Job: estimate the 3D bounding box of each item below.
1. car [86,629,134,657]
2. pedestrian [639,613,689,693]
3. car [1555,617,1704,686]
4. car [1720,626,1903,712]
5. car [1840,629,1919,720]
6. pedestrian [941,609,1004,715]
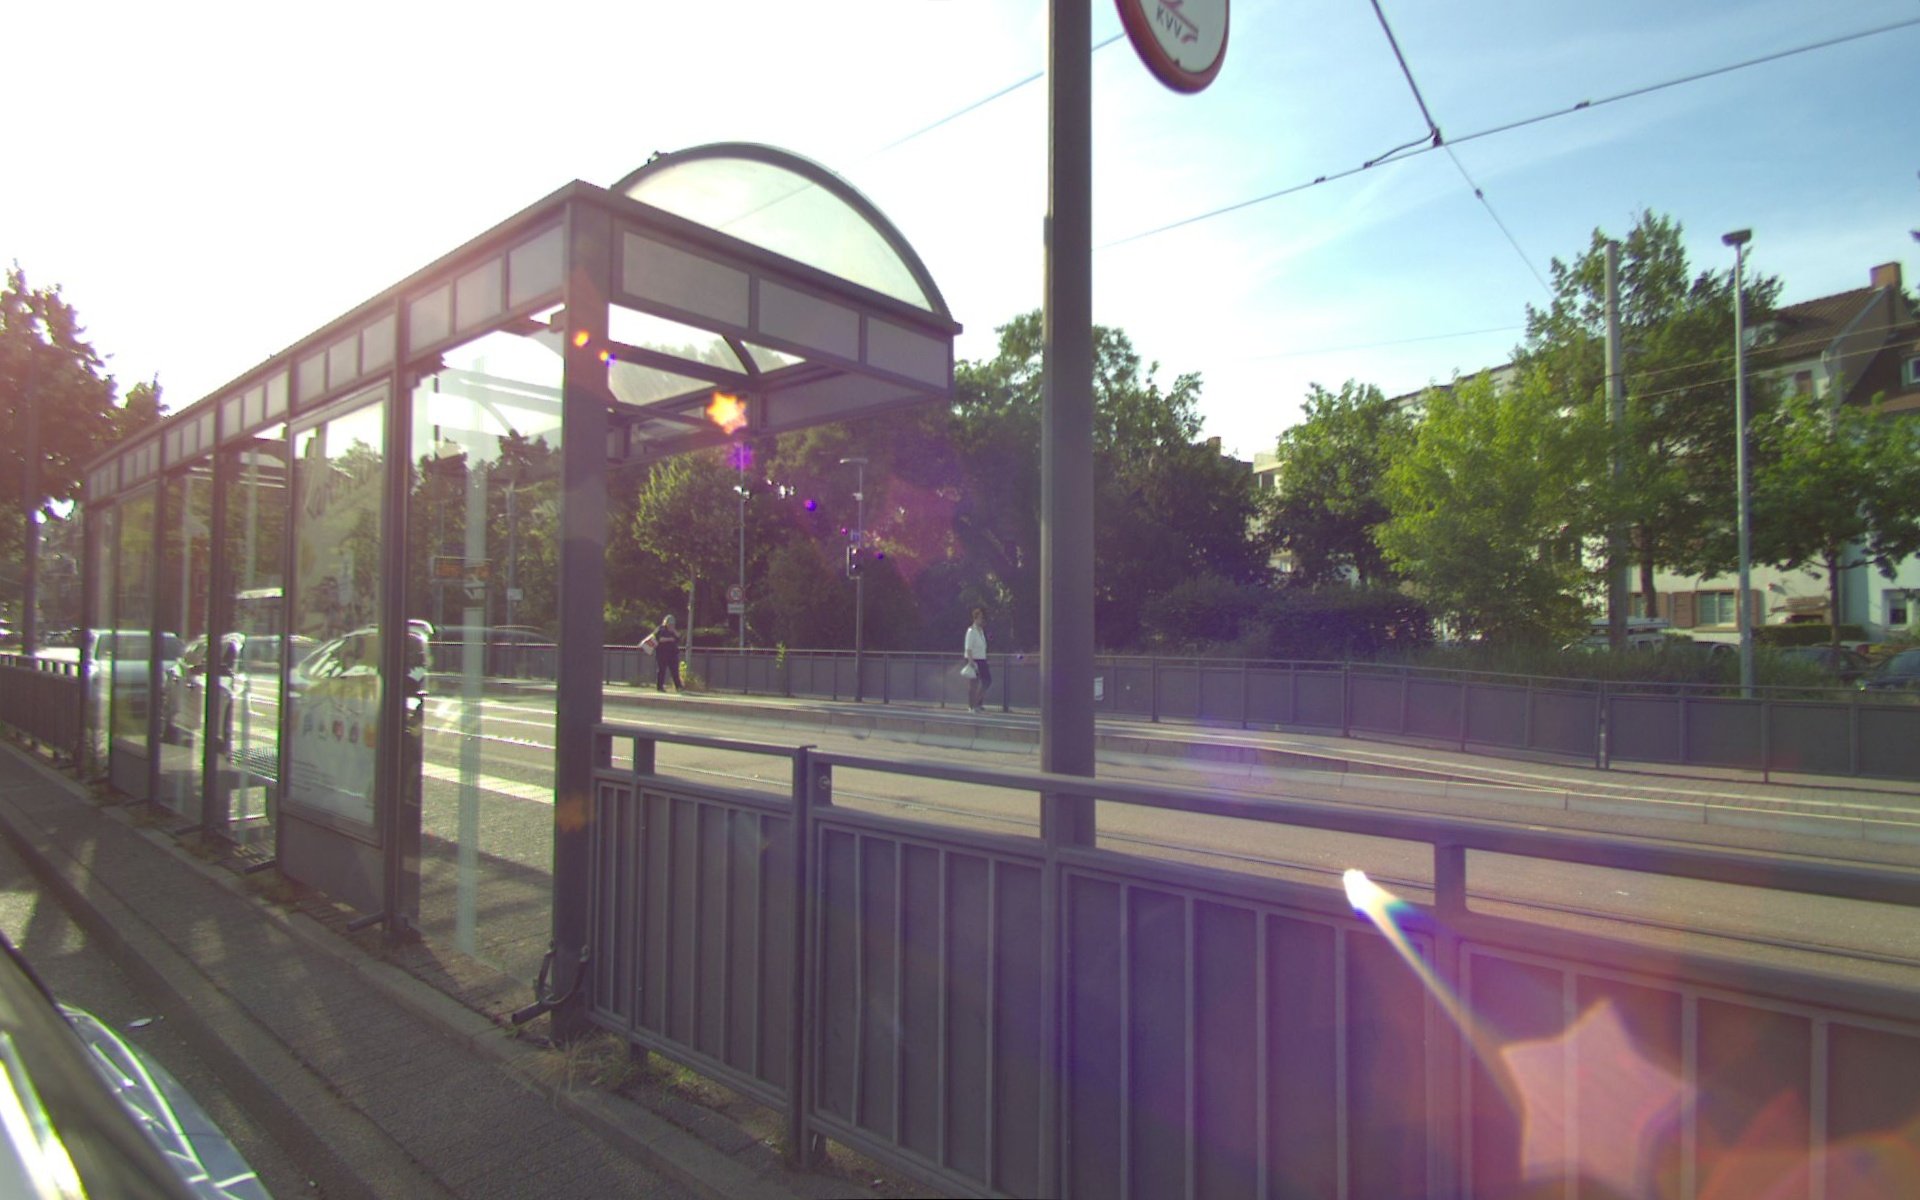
[{"bbox_3d":[-64.706,3.269,77.009,3.994,2.029,1.975,-1,-3,38],"label":"car"},{"bbox_3d":[-6.267,1.117,21.425,0.689,1.640,0.727,-2,-3,41],"label":"pedestrian"},{"bbox_3d":[18.455,1.398,27.884,3.931,1.767,1.860,2,-3,-30],"label":"car"},{"bbox_3d":[19.001,1.493,22.565,3.931,1.767,1.860,2,-3,-30],"label":"car"},{"bbox_3d":[20.212,1.499,20.913,3.931,1.767,1.860,2,-3,-30],"label":"car"},{"bbox_3d":[0.198,0.982,16.149,0.727,1.640,0.699,-2,-3,41],"label":"pedestrian"}]
